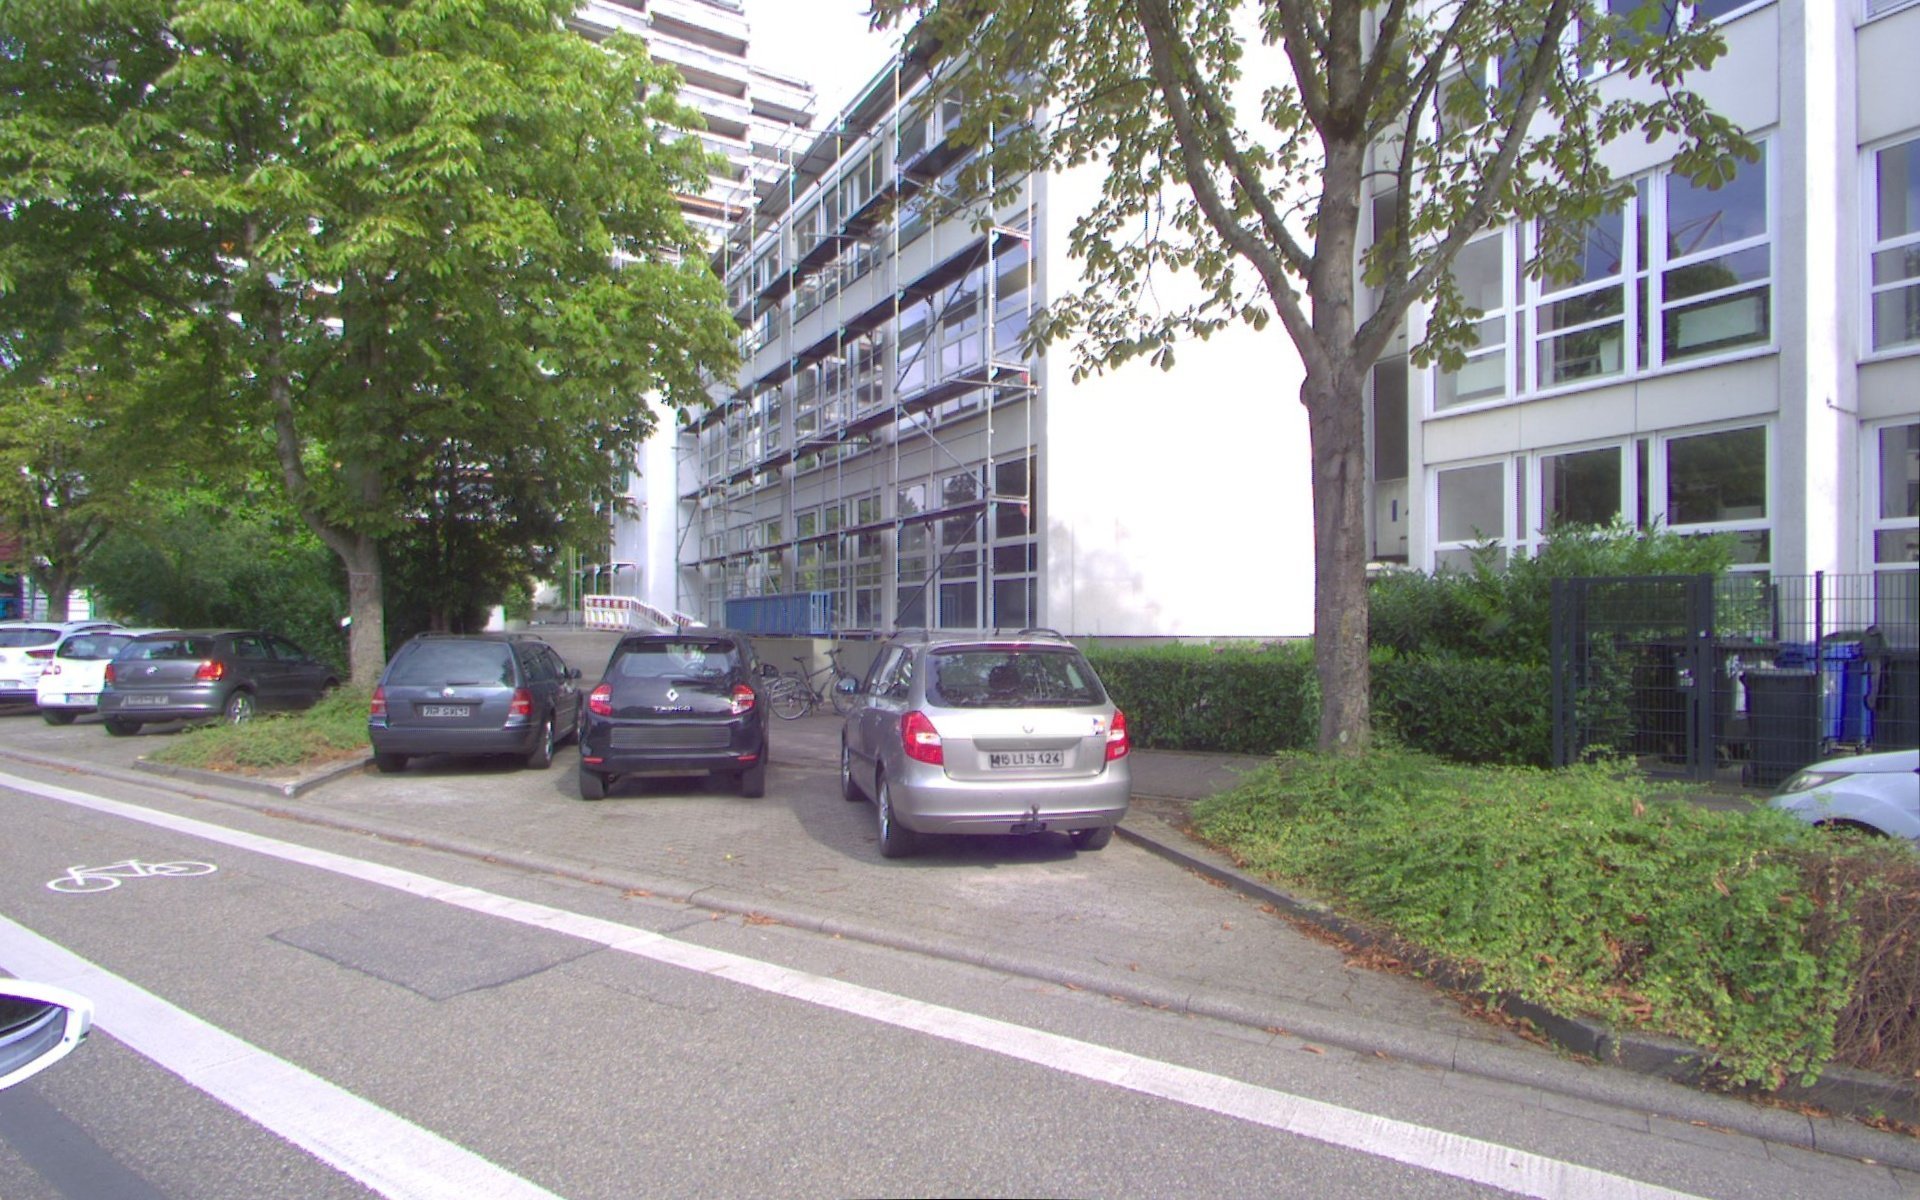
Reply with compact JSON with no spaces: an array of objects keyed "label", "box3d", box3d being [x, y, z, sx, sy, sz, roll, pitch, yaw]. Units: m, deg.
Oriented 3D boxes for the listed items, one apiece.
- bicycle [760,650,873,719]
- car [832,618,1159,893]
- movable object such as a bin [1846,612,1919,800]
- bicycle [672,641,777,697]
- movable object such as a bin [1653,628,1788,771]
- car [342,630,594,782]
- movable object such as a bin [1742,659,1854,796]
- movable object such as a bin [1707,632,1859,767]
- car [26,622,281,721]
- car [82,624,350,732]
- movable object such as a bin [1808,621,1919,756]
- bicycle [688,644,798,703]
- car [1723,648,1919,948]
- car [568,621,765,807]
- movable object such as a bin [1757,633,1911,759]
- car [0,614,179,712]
[{"label":"bicycle","box3d":[-2.365,1.379,16.601,1.813,1.057,0.451,0,0,-29]},{"label":"car","box3d":[-0.014,0.954,7.823,1.566,1.557,4.049,1,-2,-13]},{"label":"movable object such as a bin","box3d":[8.605,0.884,8.571,1.397,1.549,1.322,-1,-1,37]},{"label":"bicycle","box3d":[-4.624,1.342,19.690,1.944,1.057,0.593,1,-1,-20]},{"label":"movable object such as a bin","box3d":[8.083,1.015,10.648,1.012,1.425,0.906,1,-1,-36]},{"label":"car","box3d":[-5.513,1.083,11.794,1.783,1.433,4.166,0,-2,-14]},{"label":"movable object such as a bin","box3d":[7.467,1.103,8.955,0.734,1.119,0.781,0,-1,38]},{"label":"movable object such as a bin","box3d":[9.245,1.068,11.261,1.050,1.409,1.111,1,-1,-36]},{"label":"car","box3d":[-13.426,1.133,16.966,1.650,1.493,3.647,0,-2,-6]},{"label":"car","box3d":[-11.087,1.104,15.265,1.650,1.438,3.647,0,-2,-6]},{"label":"movable object such as a bin","box3d":[11.572,1.069,12.576,1.160,1.588,1.171,1,-1,-36]},{"label":"bicycle","box3d":[-4.104,1.370,18.955,1.949,1.057,0.591,1,-1,-30]},{"label":"car","box3d":[5.575,0.937,4.024,1.604,1.411,3.858,1,-2,-13]},{"label":"car","box3d":[-2.808,1.008,10.198,1.566,1.557,3.416,1,-1,-10]},{"label":"movable object such as a bin","box3d":[10.389,1.095,11.915,1.160,1.388,1.171,1,-1,-36]},{"label":"car","box3d":[-16.284,1.100,18.378,1.651,1.623,3.644,0,-2,-12]}]
